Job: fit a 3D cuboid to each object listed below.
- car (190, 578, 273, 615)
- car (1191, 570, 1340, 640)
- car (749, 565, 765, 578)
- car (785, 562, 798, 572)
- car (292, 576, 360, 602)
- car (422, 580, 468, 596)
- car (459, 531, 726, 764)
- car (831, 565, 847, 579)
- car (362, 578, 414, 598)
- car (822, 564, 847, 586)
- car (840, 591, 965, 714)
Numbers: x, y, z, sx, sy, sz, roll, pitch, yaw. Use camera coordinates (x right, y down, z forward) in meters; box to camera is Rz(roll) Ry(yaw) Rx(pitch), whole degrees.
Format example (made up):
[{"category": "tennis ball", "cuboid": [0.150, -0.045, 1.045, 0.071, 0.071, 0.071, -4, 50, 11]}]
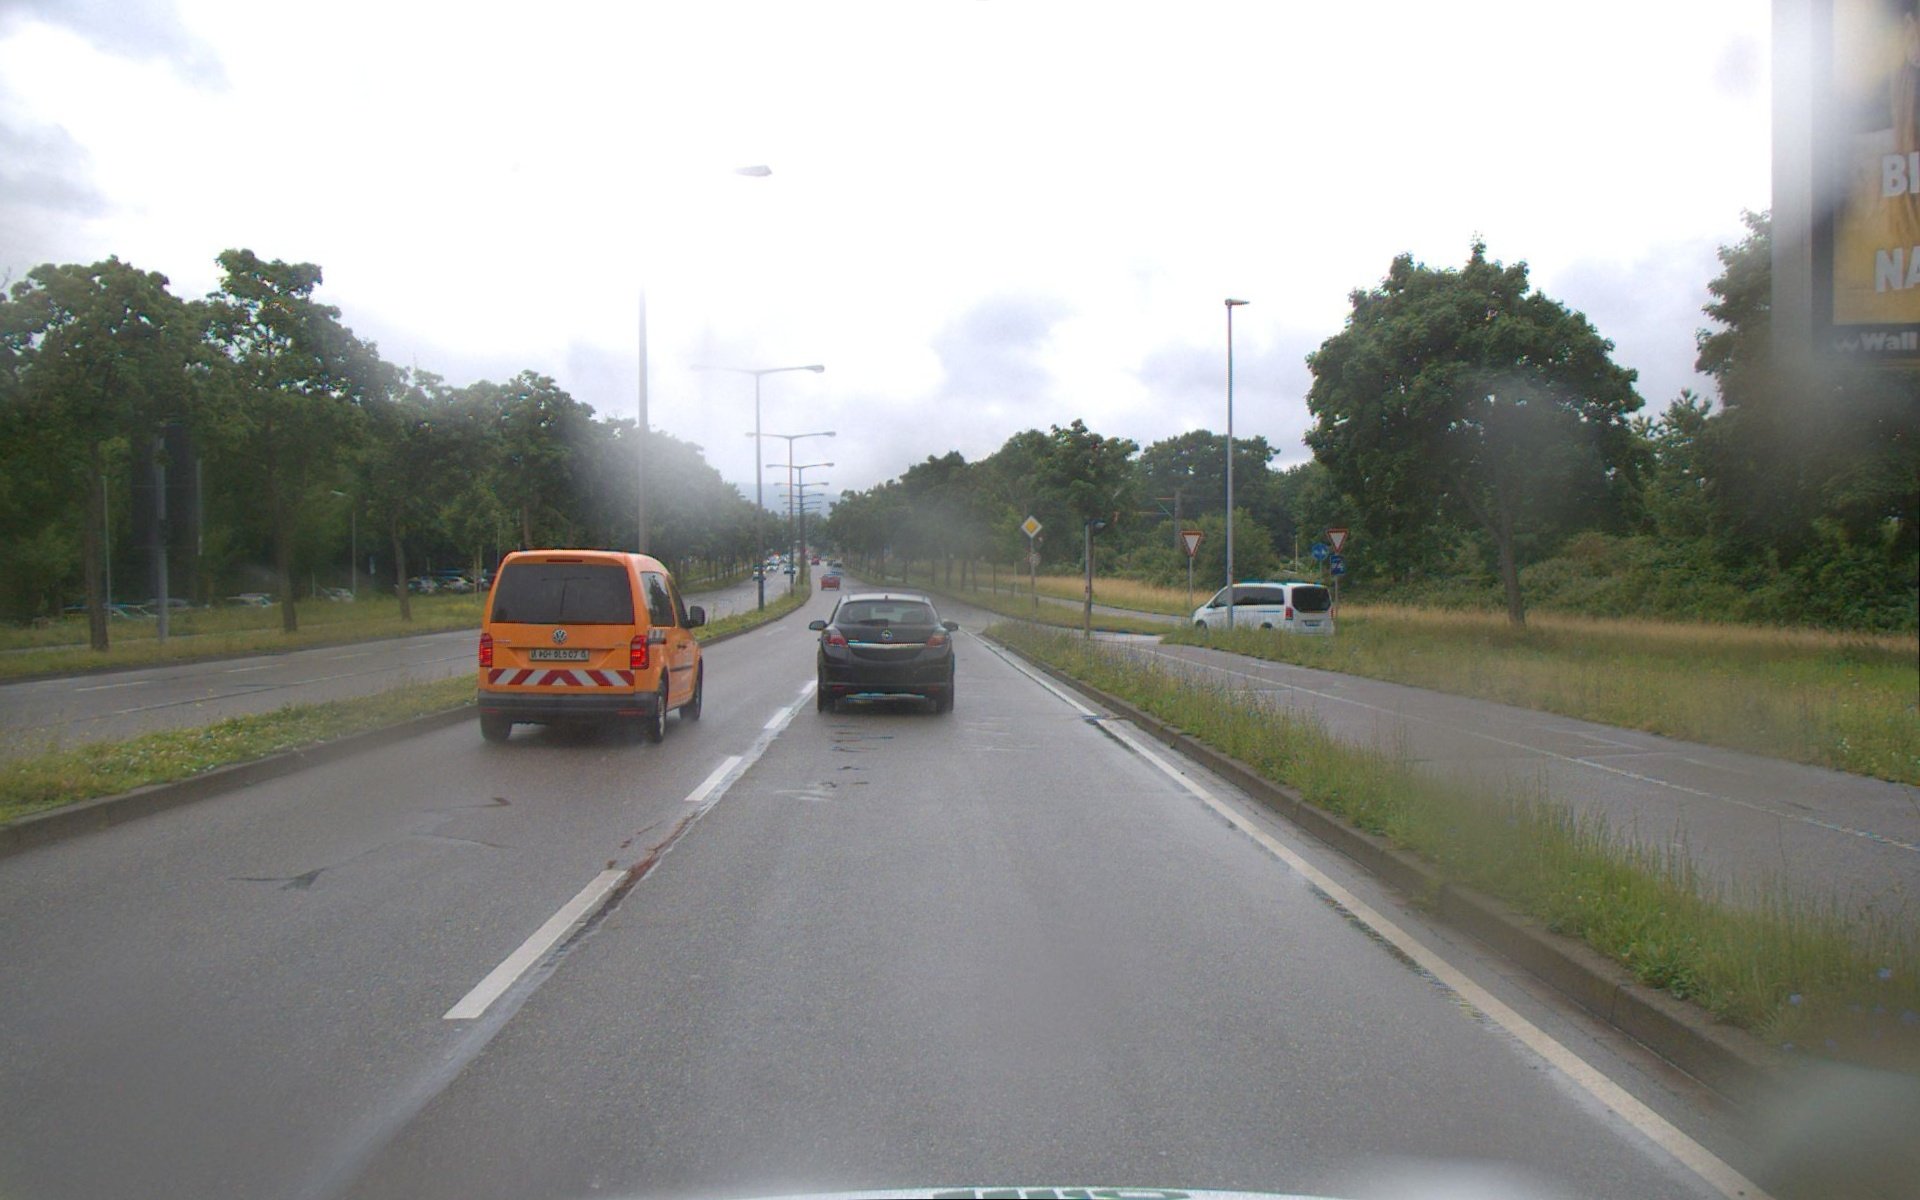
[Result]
[{"category": "car", "cuboid": [-41.462, -0.206, 94.190, 3.913, 2.048, 1.996, -1, 1, -9]}, {"category": "car", "cuboid": [9.170, 0.128, 50.073, 2.036, 2.009, 4.565, 1, 0, -28]}, {"category": "car", "cuboid": [-25.307, -3.541, 206.123, 1.649, 1.581, 3.998, 1, 1, -2]}, {"category": "car", "cuboid": [-25.542, -4.935, 250.365, 1.791, 1.475, 3.806, 0, 1, -4]}, {"category": "car", "cuboid": [-42.689, -0.746, 111.384, 3.913, 1.668, 1.908, -1, 1, -9]}, {"category": "car", "cuboid": [-47.255, -1.108, 151.782, 3.764, 1.477, 1.522, -1, 1, -9]}, {"category": "car", "cuboid": [-3.629, 0.396, 17.228, 1.699, 2.054, 4.849, 1, 1, -1]}, {"category": "car", "cuboid": [-18.879, -4.325, 258.689, 2.467, 2.088, 5.288, -1, 0, -5]}, {"category": "car", "cuboid": [-45.416, -0.960, 131.344, 3.665, 1.451, 1.485, -1, 1, -9]}, {"category": "car", "cuboid": [-11.061, -2.208, 146.417, 1.953, 1.912, 3.999, 1, 0, -1]}, {"category": "car", "cuboid": [-0.713, 0.606, 21.148, 1.433, 1.352, 3.757, 1, 1, -1]}]
